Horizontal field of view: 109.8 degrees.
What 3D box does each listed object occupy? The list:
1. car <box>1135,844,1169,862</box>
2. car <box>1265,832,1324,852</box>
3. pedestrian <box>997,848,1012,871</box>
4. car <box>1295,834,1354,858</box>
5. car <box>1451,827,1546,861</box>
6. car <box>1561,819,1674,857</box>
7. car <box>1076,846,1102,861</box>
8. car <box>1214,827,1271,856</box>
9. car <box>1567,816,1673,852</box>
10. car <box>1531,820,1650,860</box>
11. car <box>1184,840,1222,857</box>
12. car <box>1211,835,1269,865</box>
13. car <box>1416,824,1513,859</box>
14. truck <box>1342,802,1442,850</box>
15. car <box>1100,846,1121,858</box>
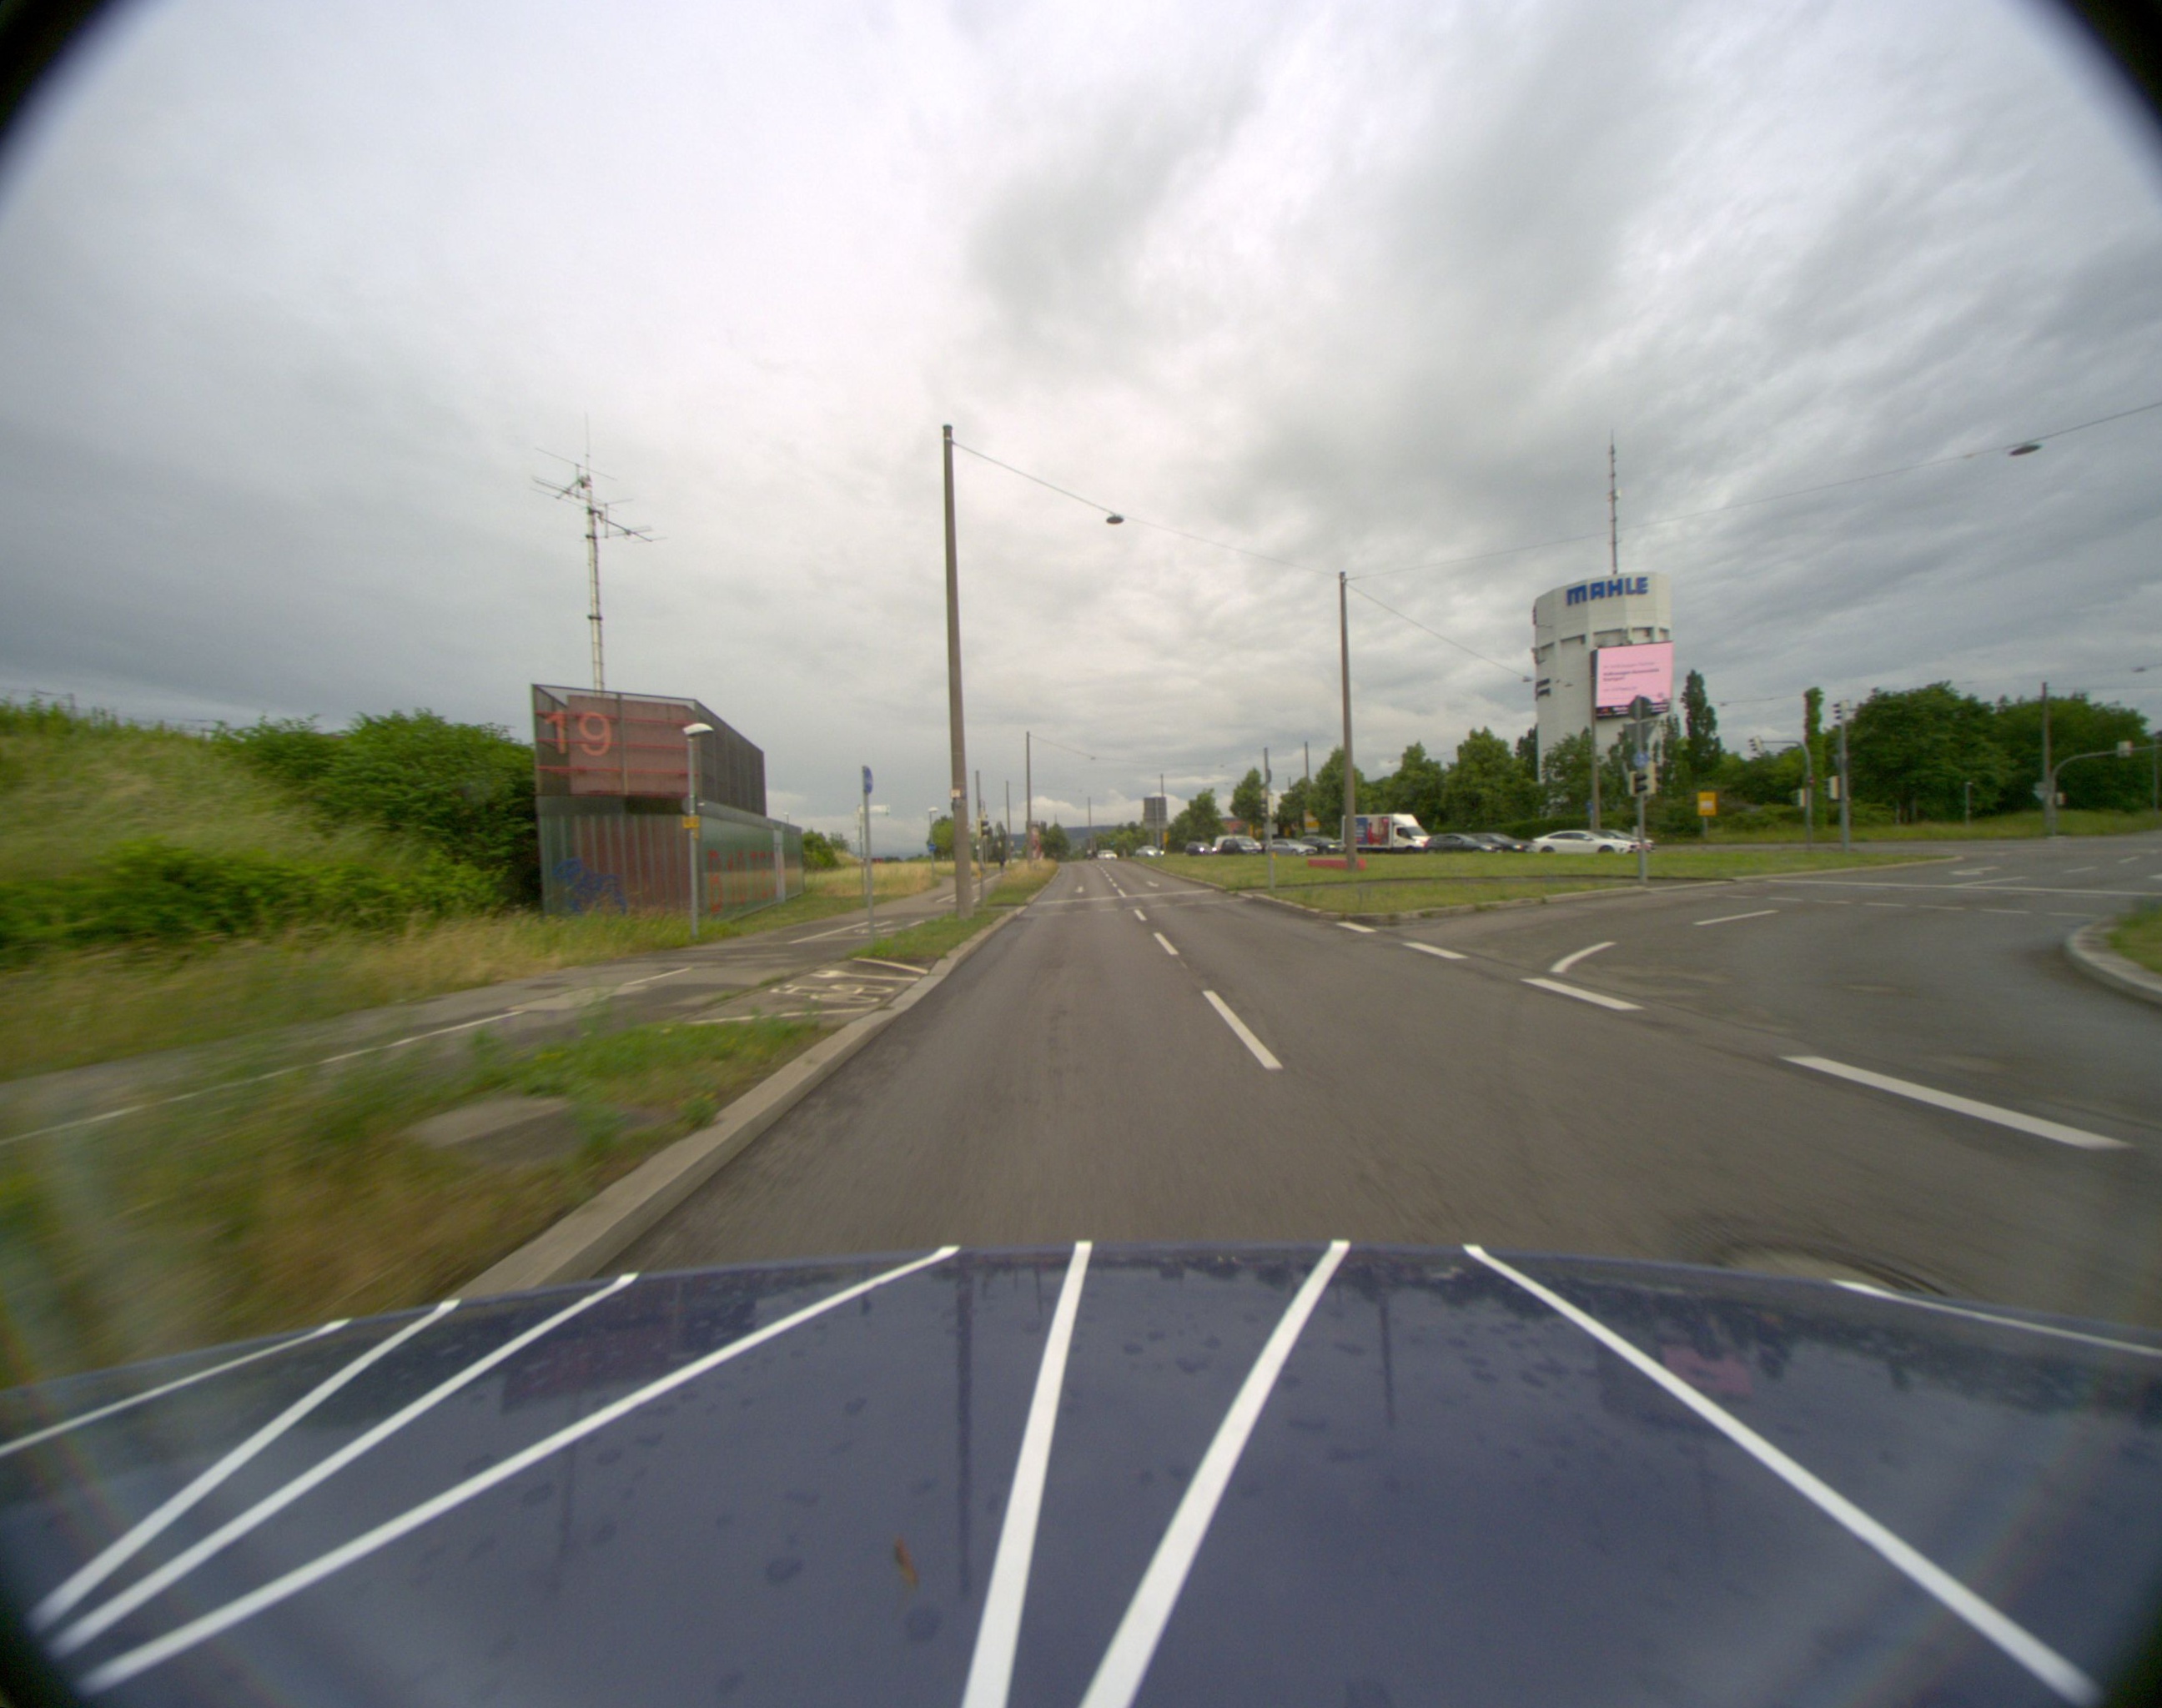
[{"bbox_3d":[7.875,-0.112,84.701,2.001,1.791,5.163,-5,1,-14],"label":"car"},{"bbox_3d":[16.922,-0.962,60.388,2.002,1.303,4.522,-5,1,-23],"label":"car"},{"bbox_3d":[-5.874,0.409,58.246,0.800,1.714,0.988,-5,1,-15],"label":"pedestrian"},{"bbox_3d":[19.656,-0.605,61.516,2.002,1.673,4.512,-5,1,-23],"label":"car"},{"bbox_3d":[25.000,-0.569,45.623,2.003,1.673,4.510,-5,1,-33],"label":"car"},{"bbox_3d":[28.773,-0.821,40.858,2.003,1.673,4.509,-6,1,-40],"label":"car"},{"bbox_3d":[1.035,-0.068,101.427,2.001,1.791,5.163,-5,1,-14],"label":"car"},{"bbox_3d":[14.186,-1.061,67.203,2.376,2.169,5.299,-5,1,-20],"label":"car"},{"bbox_3d":[30.651,-1.097,43.320,2.003,1.673,4.509,-6,1,-39],"label":"car"},{"bbox_3d":[25.747,-0.675,38.531,2.003,1.673,4.510,-6,1,-36],"label":"car"},{"bbox_3d":[12.880,-0.562,80.748,2.001,1.673,4.513,-5,1,-19],"label":"car"},{"bbox_3d":[12.682,-0.262,61.122,2.001,2.169,5.161,-5,1,-20],"label":"car"},{"bbox_3d":[21.759,-0.652,43.282,2.002,1.673,4.511,-5,1,-30],"label":"car"},{"bbox_3d":[21.132,-1.837,51.928,2.133,2.818,6.018,-6,1,-31],"label":"truck"},{"bbox_3d":[4.527,-0.305,117.808,2.001,1.773,3.994,-5,1,-16],"label":"car"}]
